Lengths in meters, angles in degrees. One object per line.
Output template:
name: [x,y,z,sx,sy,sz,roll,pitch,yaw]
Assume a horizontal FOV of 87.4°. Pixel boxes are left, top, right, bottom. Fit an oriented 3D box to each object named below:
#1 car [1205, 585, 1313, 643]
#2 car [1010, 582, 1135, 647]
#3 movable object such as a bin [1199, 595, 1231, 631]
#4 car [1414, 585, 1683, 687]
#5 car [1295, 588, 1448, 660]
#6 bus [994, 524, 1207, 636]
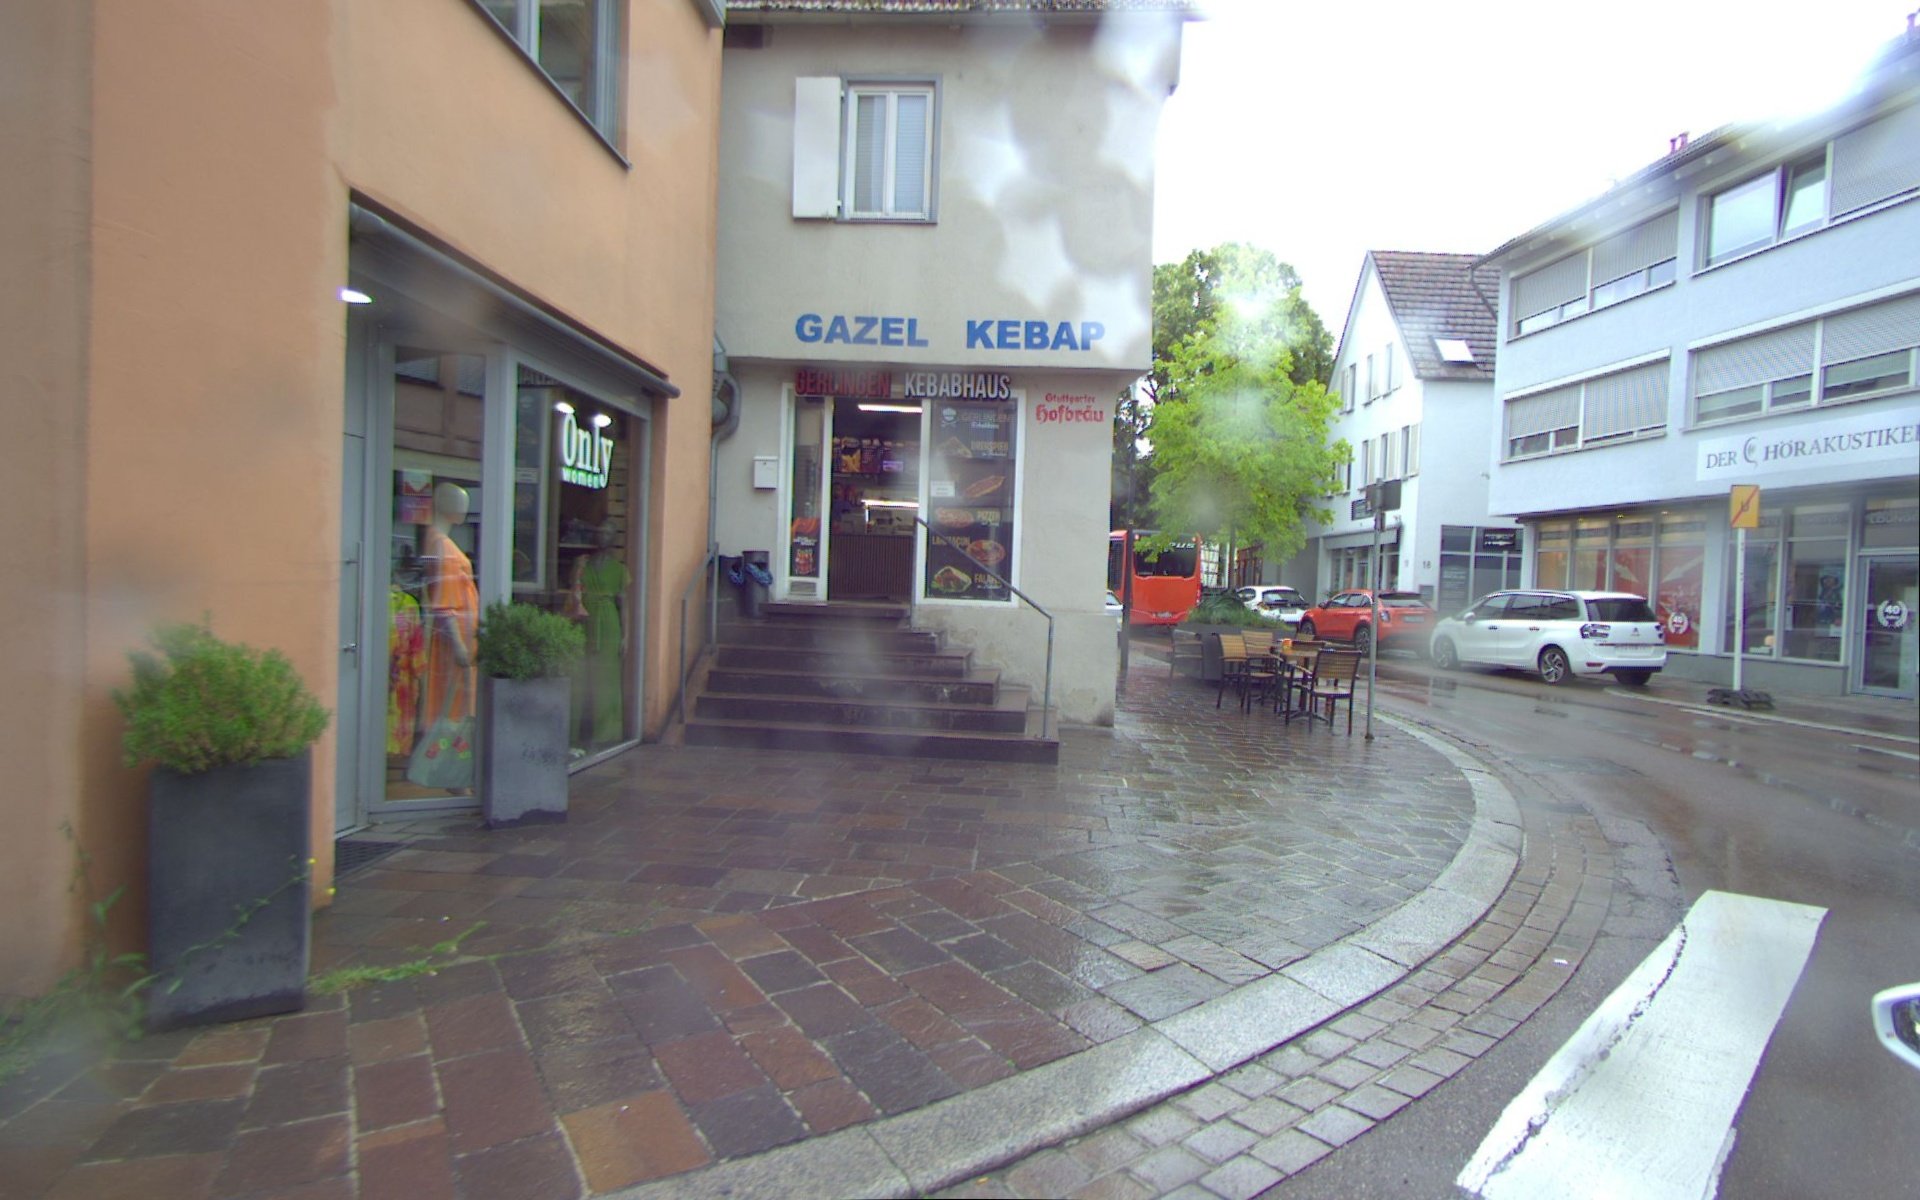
car: [8.826,0.359,30.007,1.651,1.549,3.793,1,2,-8]
car: [2.877,0.345,26.587,1.701,1.433,3.963,3,1,-19]
movable object such as a bin: [8.316,0.421,32.802,0.822,1.127,0.559,2,1,-14]
car: [10.754,0.572,18.807,1.751,1.652,4.458,2,1,-13]
car: [9.781,0.516,24.196,1.652,1.549,3.792,1,1,-9]
bus: [4.216,-0.732,33.704,2.777,3.130,10.563,0,2,-18]
